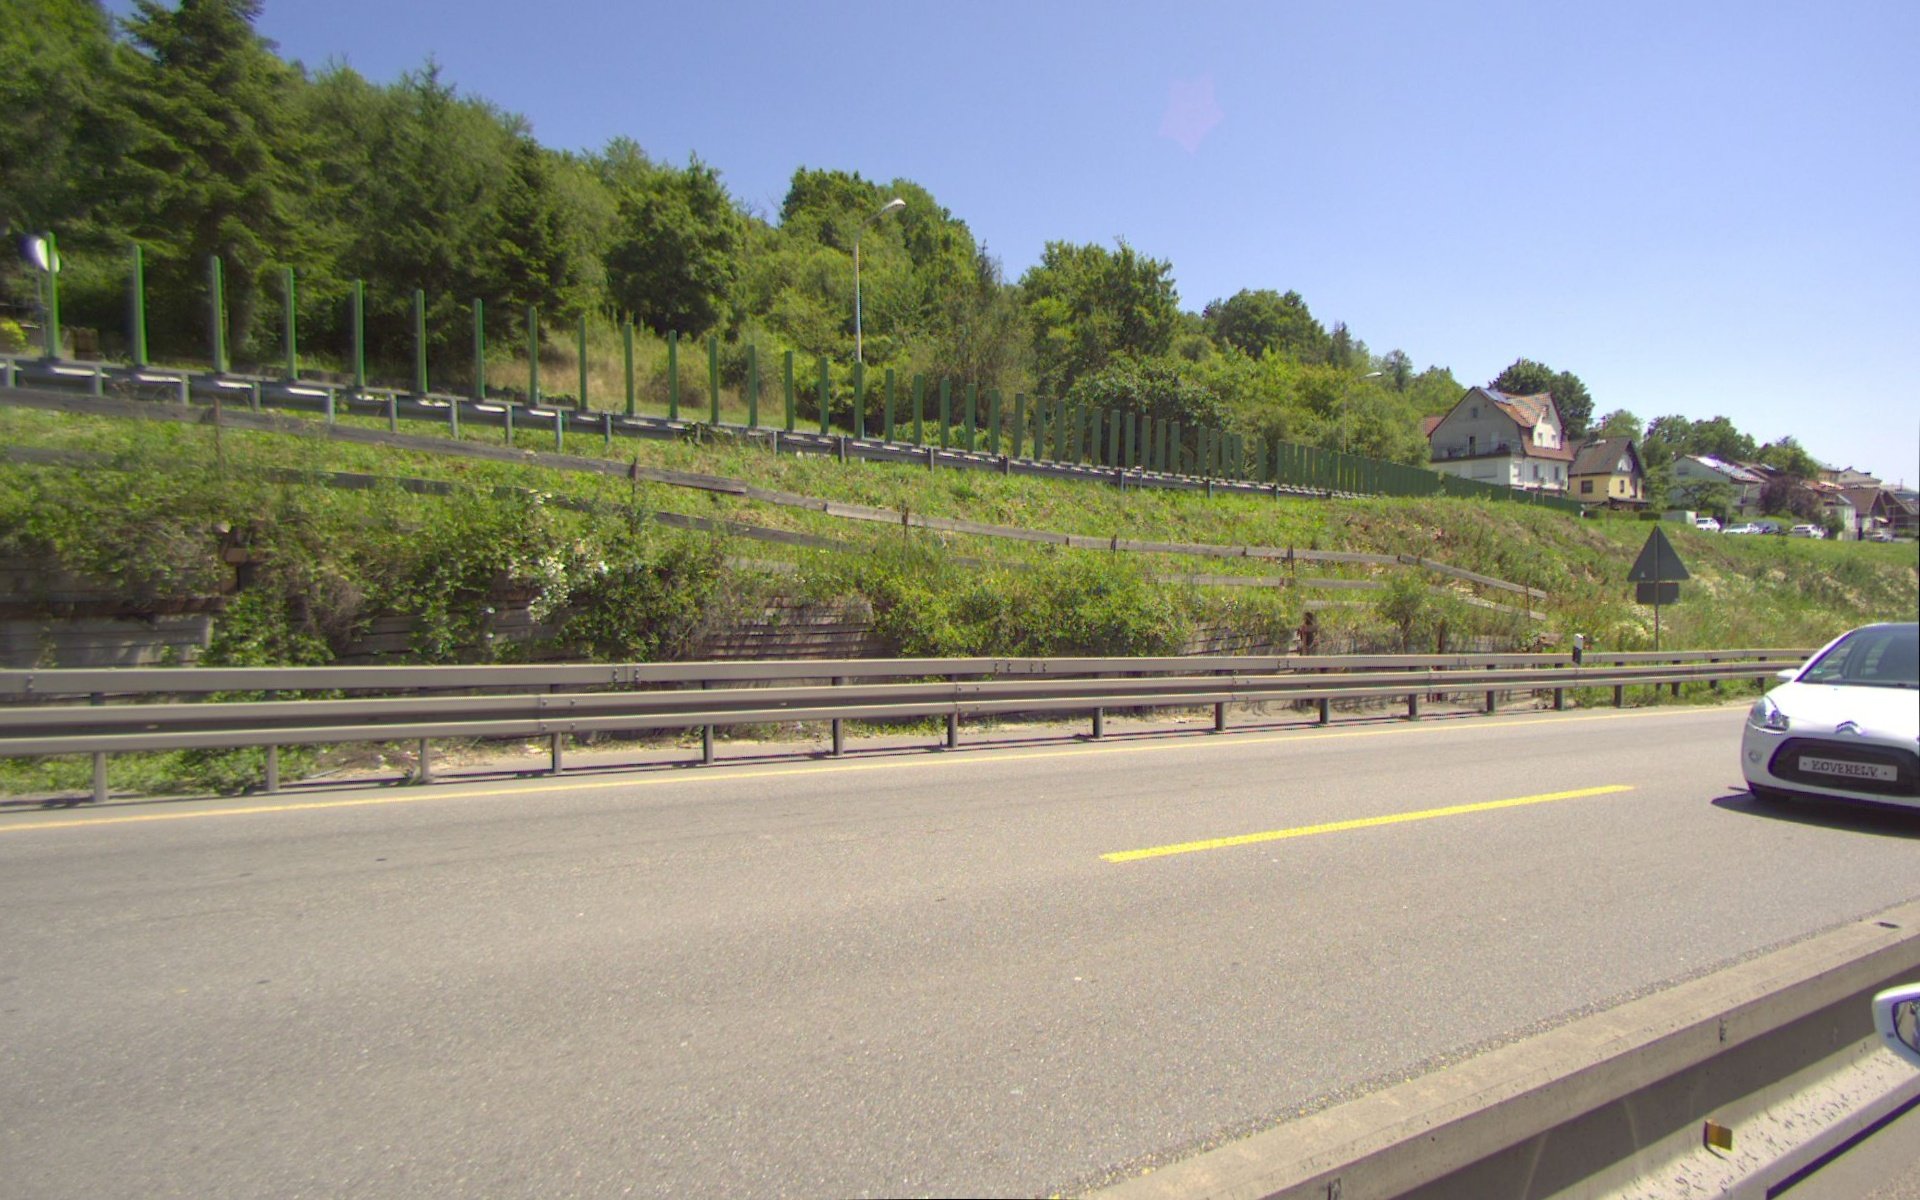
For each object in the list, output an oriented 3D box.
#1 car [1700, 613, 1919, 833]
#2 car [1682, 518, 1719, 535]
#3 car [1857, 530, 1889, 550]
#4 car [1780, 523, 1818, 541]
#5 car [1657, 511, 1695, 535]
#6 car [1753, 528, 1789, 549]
[{"bbox_3d":[8.081,0.900,8.396,3.822,1.506,1.757,1,0,-32],"label":"car"},{"bbox_3d":[54.931,-5.435,74.481,3.243,1.052,1.271,1,0,-36],"label":"car"},{"bbox_3d":[92.399,-6.067,101.676,3.968,1.751,1.909,1,0,-40],"label":"car"},{"bbox_3d":[76.196,-6.157,91.253,3.969,1.337,1.976,1,3,-41],"label":"car"},{"bbox_3d":[51.082,-5.492,71.645,1.708,1.417,3.781,4,2,42],"label":"car"},{"bbox_3d":[67.549,-5.110,83.599,3.967,1.438,1.578,1,0,-40],"label":"car"}]
